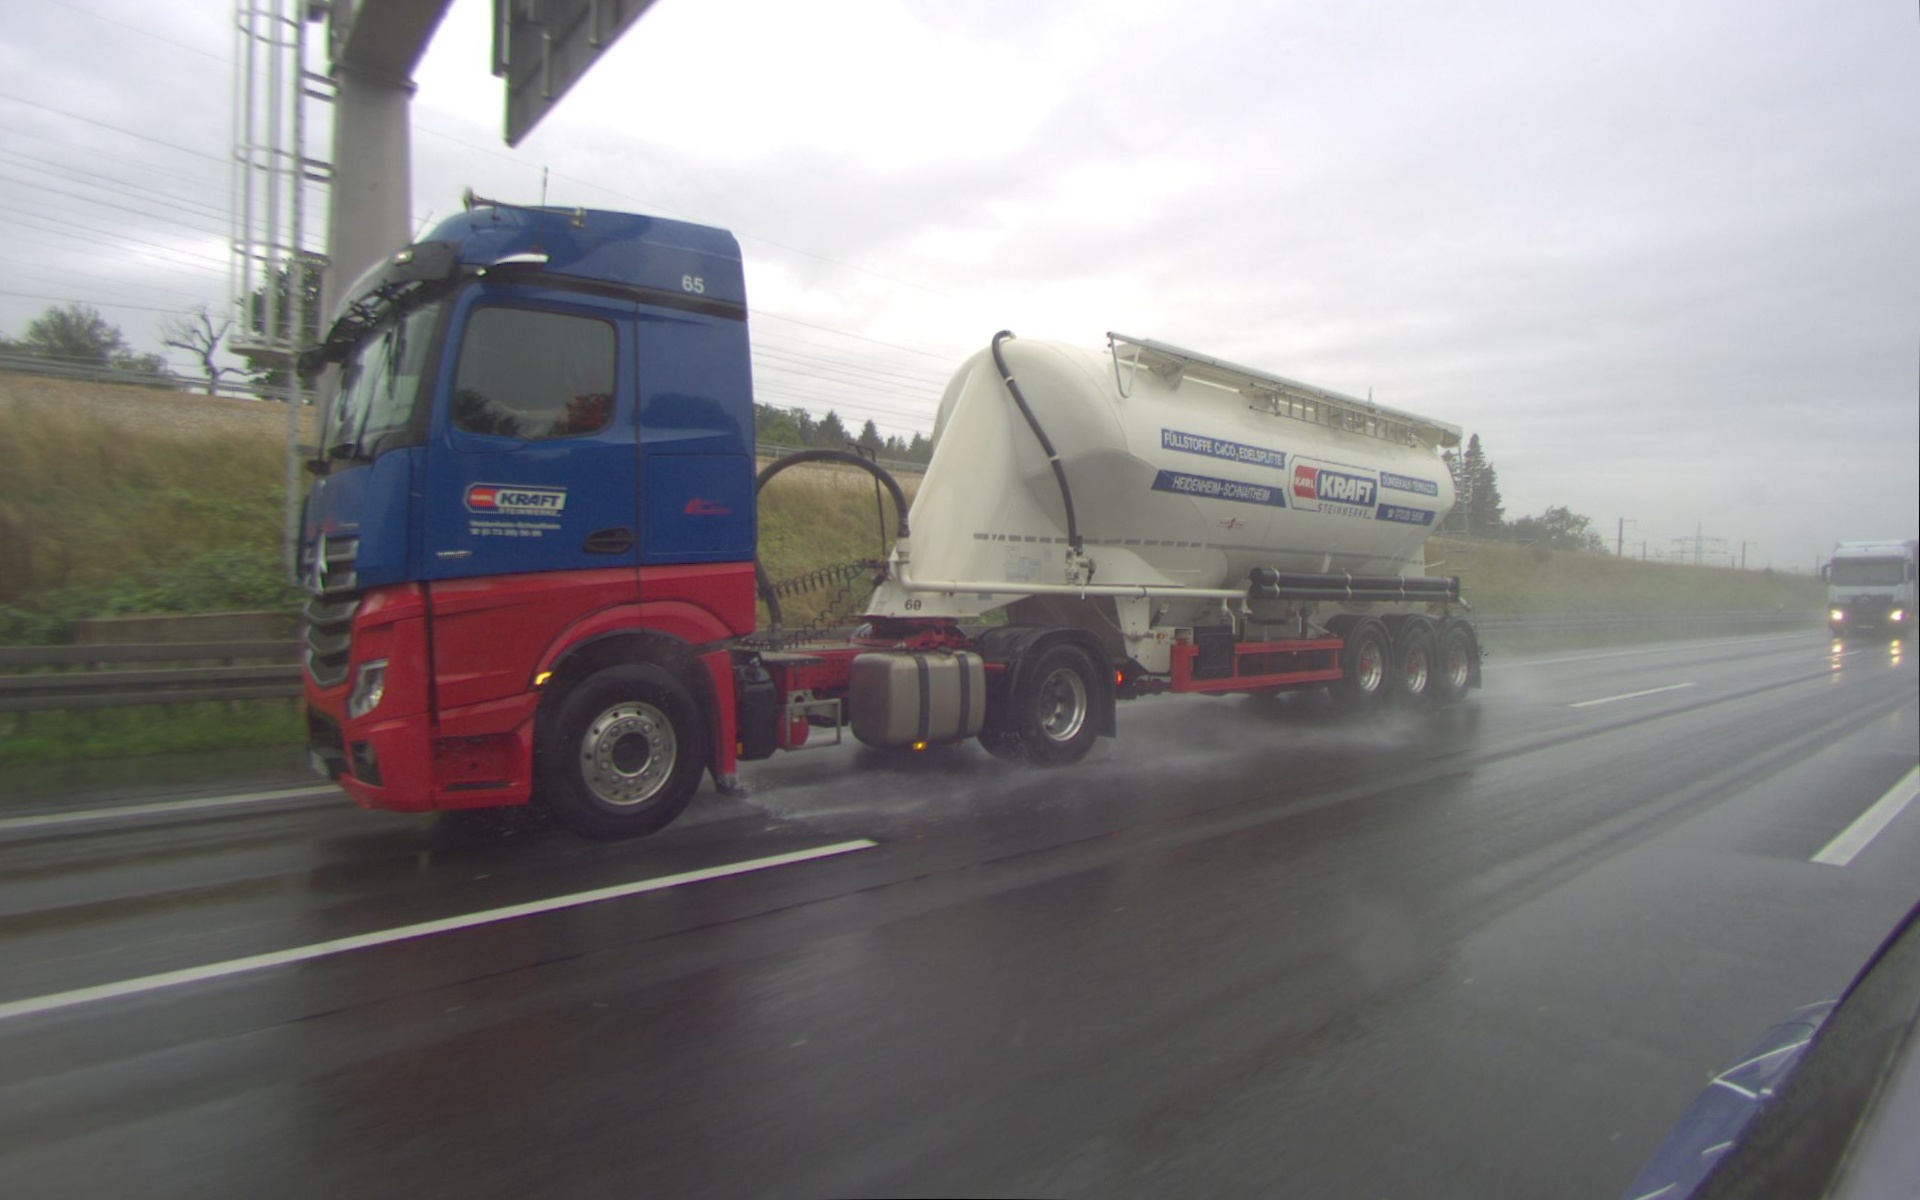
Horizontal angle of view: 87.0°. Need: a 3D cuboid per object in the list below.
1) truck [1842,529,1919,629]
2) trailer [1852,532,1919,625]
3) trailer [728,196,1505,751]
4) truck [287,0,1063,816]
[{"bbox_3d":[39.548,-0.802,42.866,6.089,3.939,2.456,1,-1,-40],"label":"truck"},{"bbox_3d":[45.111,-0.799,47.696,16.253,3.813,2.484,1,-1,-41],"label":"trailer"},{"bbox_3d":[2.838,-0.846,11.706,10.873,3.932,2.501,1,-1,-41],"label":"trailer"},{"bbox_3d":[-1.857,-0.939,7.582,4.987,4.034,2.501,1,-1,-41],"label":"truck"}]
